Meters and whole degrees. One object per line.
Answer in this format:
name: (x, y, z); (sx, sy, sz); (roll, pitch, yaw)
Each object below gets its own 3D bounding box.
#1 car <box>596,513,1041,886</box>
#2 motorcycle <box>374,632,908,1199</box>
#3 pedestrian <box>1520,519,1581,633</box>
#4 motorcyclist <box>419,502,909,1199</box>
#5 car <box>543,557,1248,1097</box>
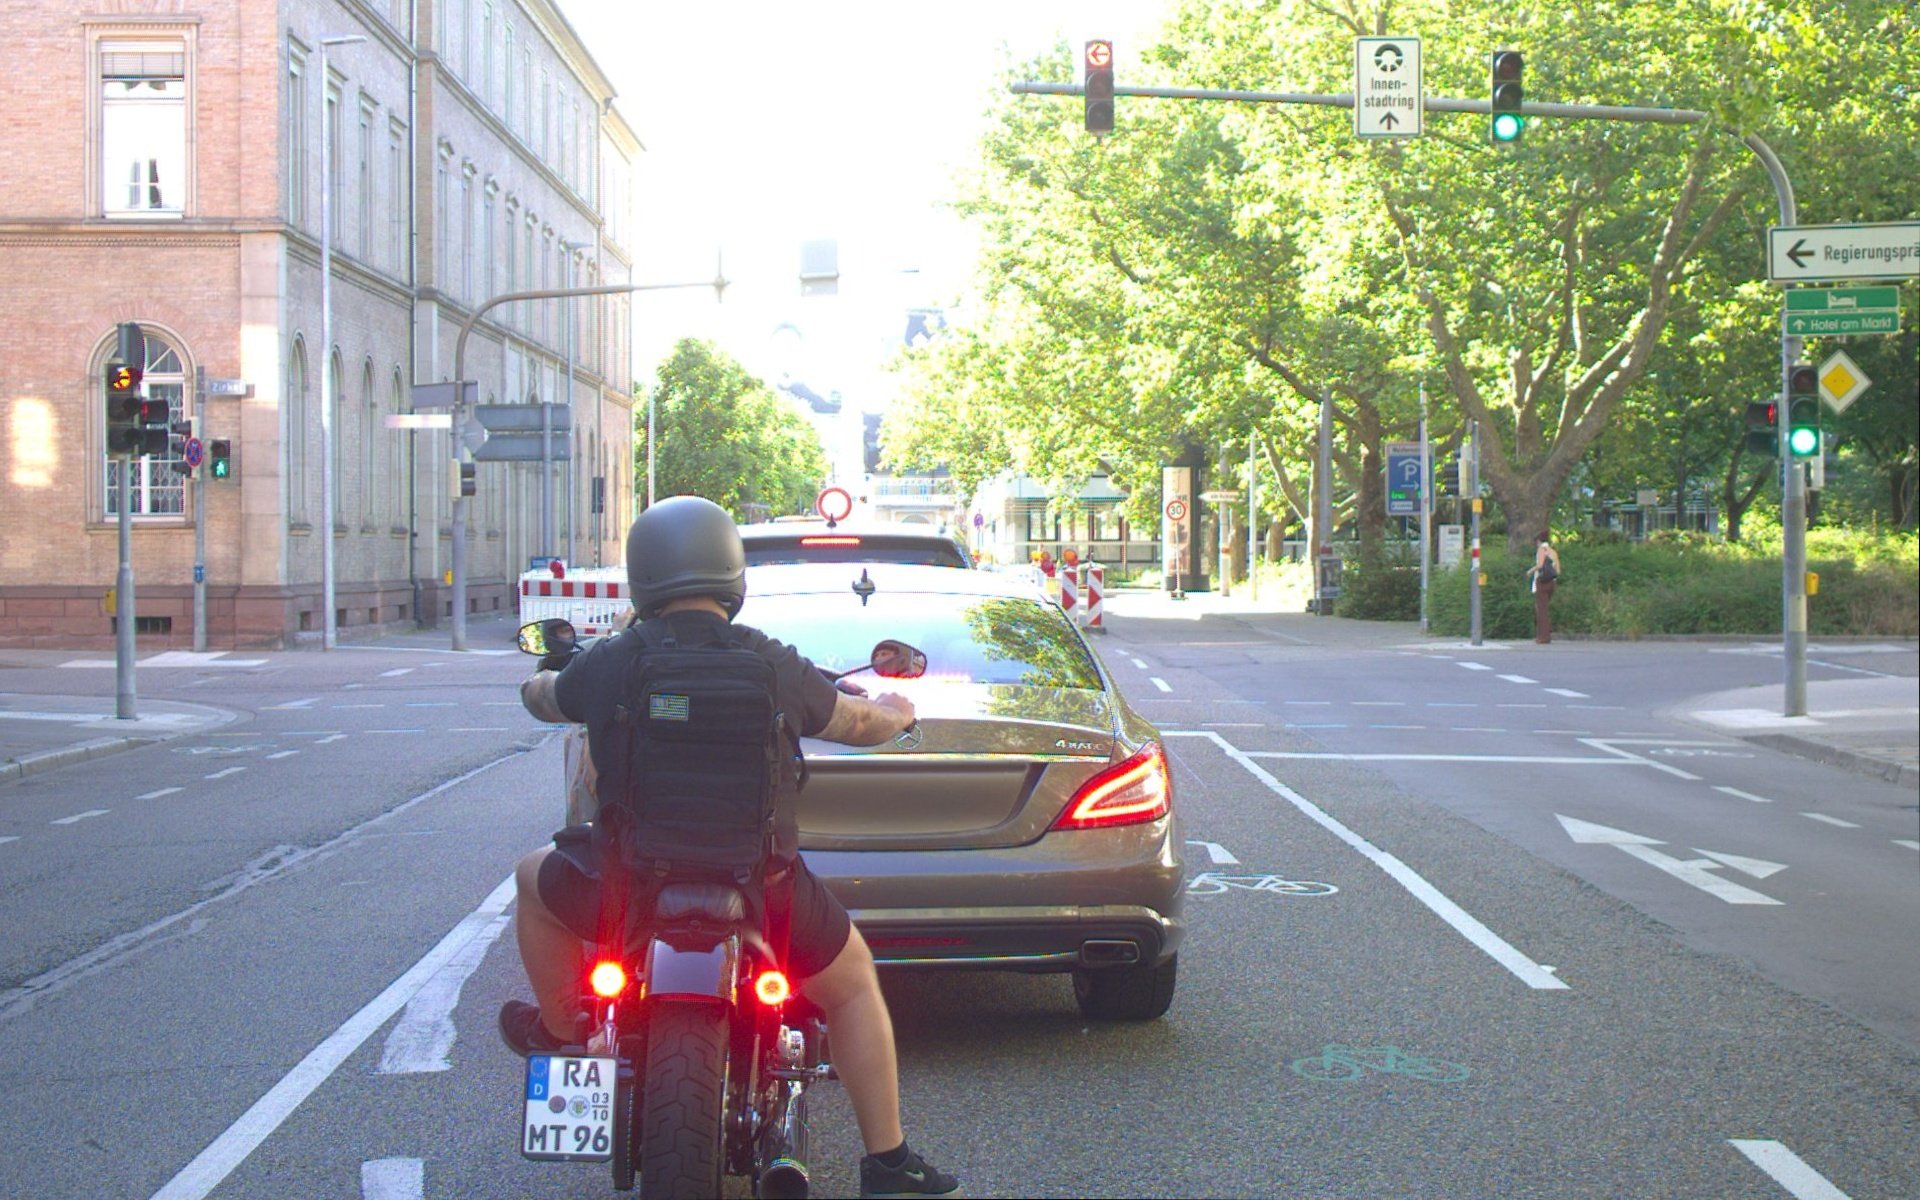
car: (-0.663, 0.431, 17.566); (1.993, 1.660, 4.000); (1, 1, -1)
motorcycle: (-0.610, 0.740, 7.586); (0.980, 1.271, 2.407); (0, 1, -1)
pedestrian: (9.173, -0.374, 53.428); (0.679, 1.766, 0.615); (1, 1, 44)
motorcyclist: (-0.606, 0.578, 7.566); (0.980, 1.573, 1.248); (0, 1, -1)
car: (-0.429, 0.588, 11.644); (1.869, 1.439, 4.431); (0, 1, -8)
